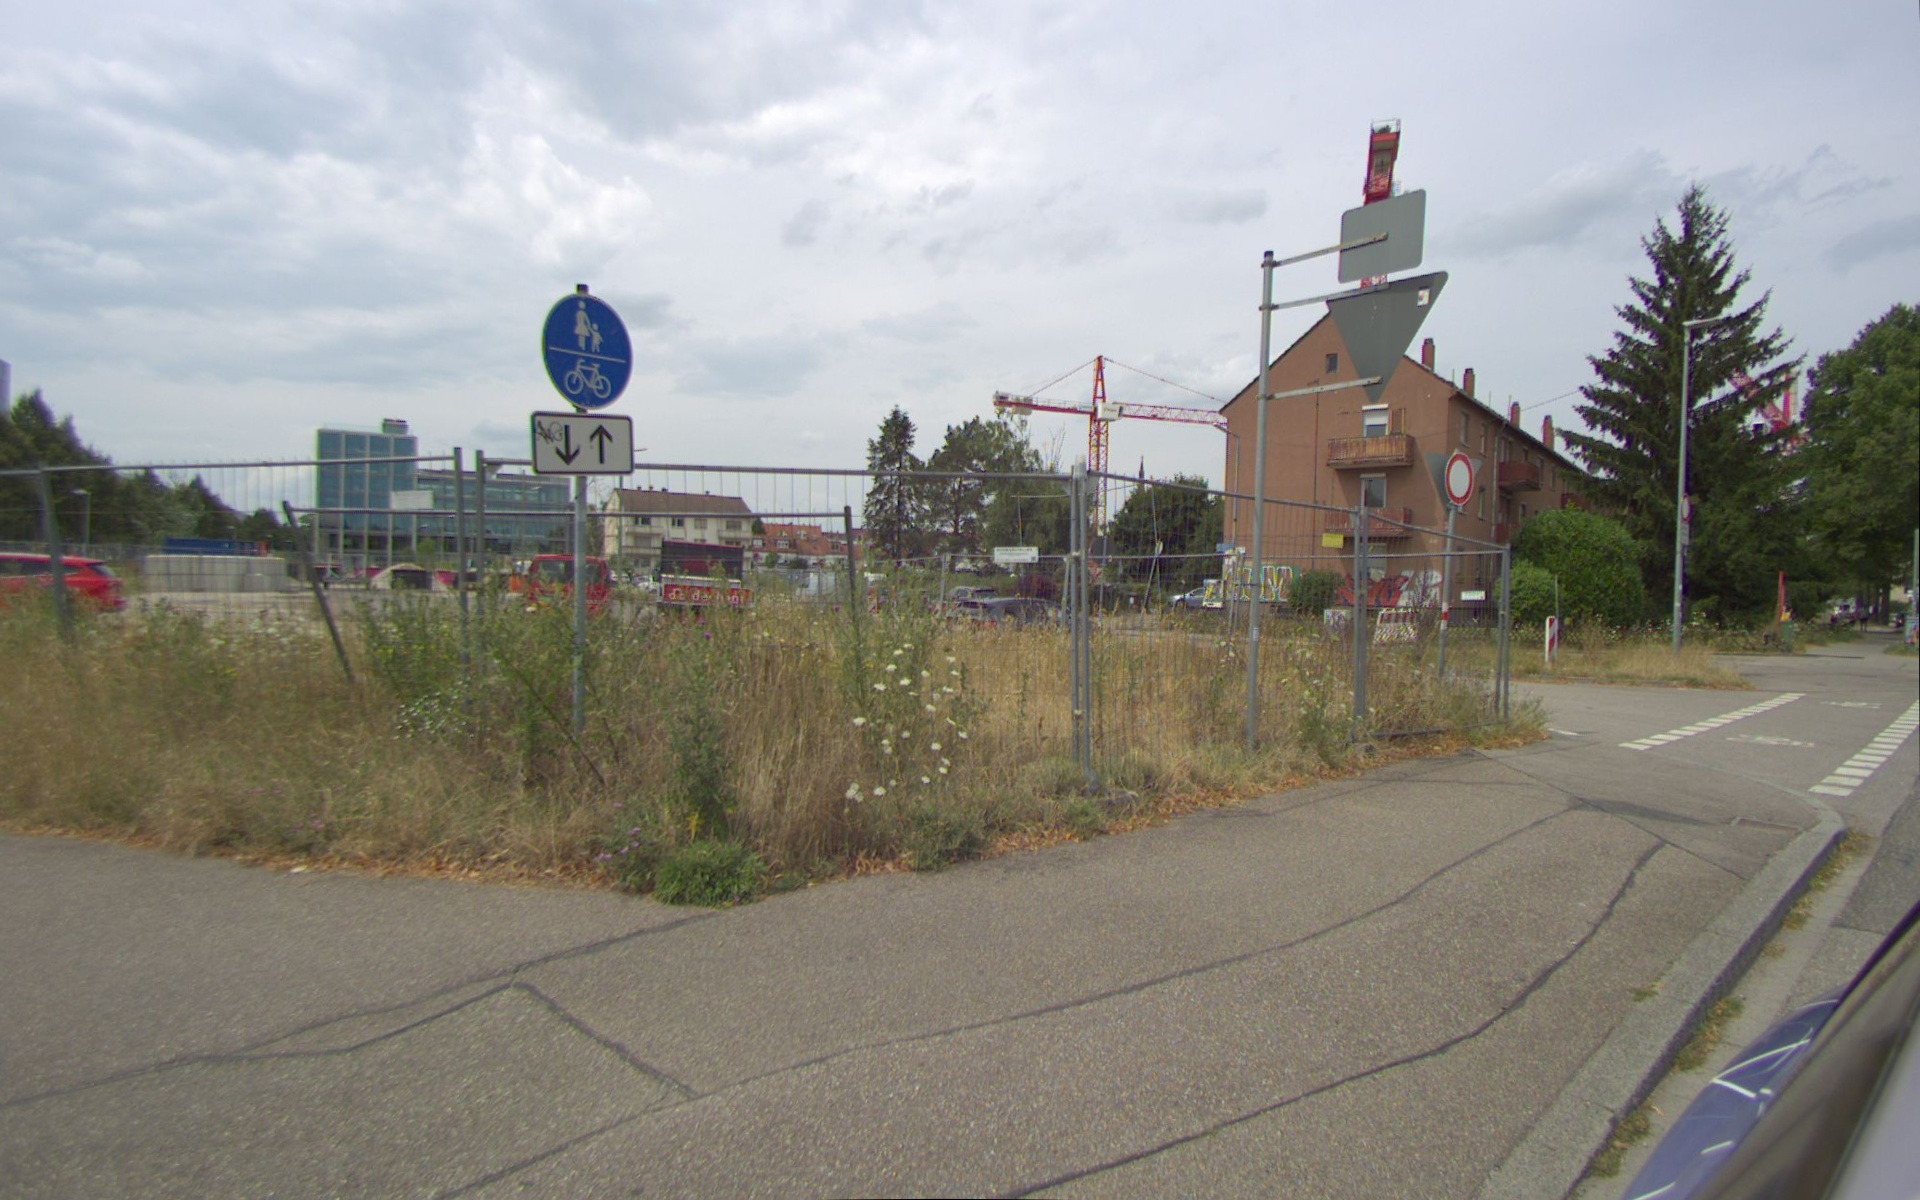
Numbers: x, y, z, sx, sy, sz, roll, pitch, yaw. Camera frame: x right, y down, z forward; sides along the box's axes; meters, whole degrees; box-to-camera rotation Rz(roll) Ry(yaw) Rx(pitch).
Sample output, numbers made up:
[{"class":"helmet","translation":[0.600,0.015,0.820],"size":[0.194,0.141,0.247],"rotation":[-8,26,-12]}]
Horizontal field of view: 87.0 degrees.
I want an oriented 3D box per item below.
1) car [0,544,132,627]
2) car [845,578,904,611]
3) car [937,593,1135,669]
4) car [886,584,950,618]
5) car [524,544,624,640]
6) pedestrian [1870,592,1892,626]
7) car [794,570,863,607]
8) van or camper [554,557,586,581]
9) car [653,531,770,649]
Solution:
[{"class":"car","translation":[-19.890,-0.316,20.236],"size":[5.043,1.624,1.789],"rotation":[1,1,-37]},{"class":"car","translation":[-4.893,-0.356,57.368],"size":[1.820,1.771,4.019],"rotation":[1,1,-29]},{"class":"car","translation":[1.711,0.626,22.164],"size":[4.179,1.492,1.767],"rotation":[1,1,-36]},{"class":"car","translation":[-2.226,0.030,53.011],"size":[1.765,1.622,4.020],"rotation":[1,1,-28]},{"class":"car","translation":[-9.067,-0.217,24.041],"size":[1.896,1.934,4.999],"rotation":[4,0,-19]},{"class":"pedestrian","translation":[55.756,0.536,61.253],"size":[0.719,2.039,0.855],"rotation":[1,0,-42]},{"class":"car","translation":[-8.108,-0.740,62.055],"size":[2.107,2.163,4.909],"rotation":[1,1,-36]},{"class":"van or camper","translation":[-46.015,-3.621,119.356],"size":[2.307,2.721,5.247],"rotation":[1,1,-34]},{"class":"car","translation":[-6.143,-0.264,24.349],"size":[2.269,2.442,6.557],"rotation":[1,1,-18]}]
